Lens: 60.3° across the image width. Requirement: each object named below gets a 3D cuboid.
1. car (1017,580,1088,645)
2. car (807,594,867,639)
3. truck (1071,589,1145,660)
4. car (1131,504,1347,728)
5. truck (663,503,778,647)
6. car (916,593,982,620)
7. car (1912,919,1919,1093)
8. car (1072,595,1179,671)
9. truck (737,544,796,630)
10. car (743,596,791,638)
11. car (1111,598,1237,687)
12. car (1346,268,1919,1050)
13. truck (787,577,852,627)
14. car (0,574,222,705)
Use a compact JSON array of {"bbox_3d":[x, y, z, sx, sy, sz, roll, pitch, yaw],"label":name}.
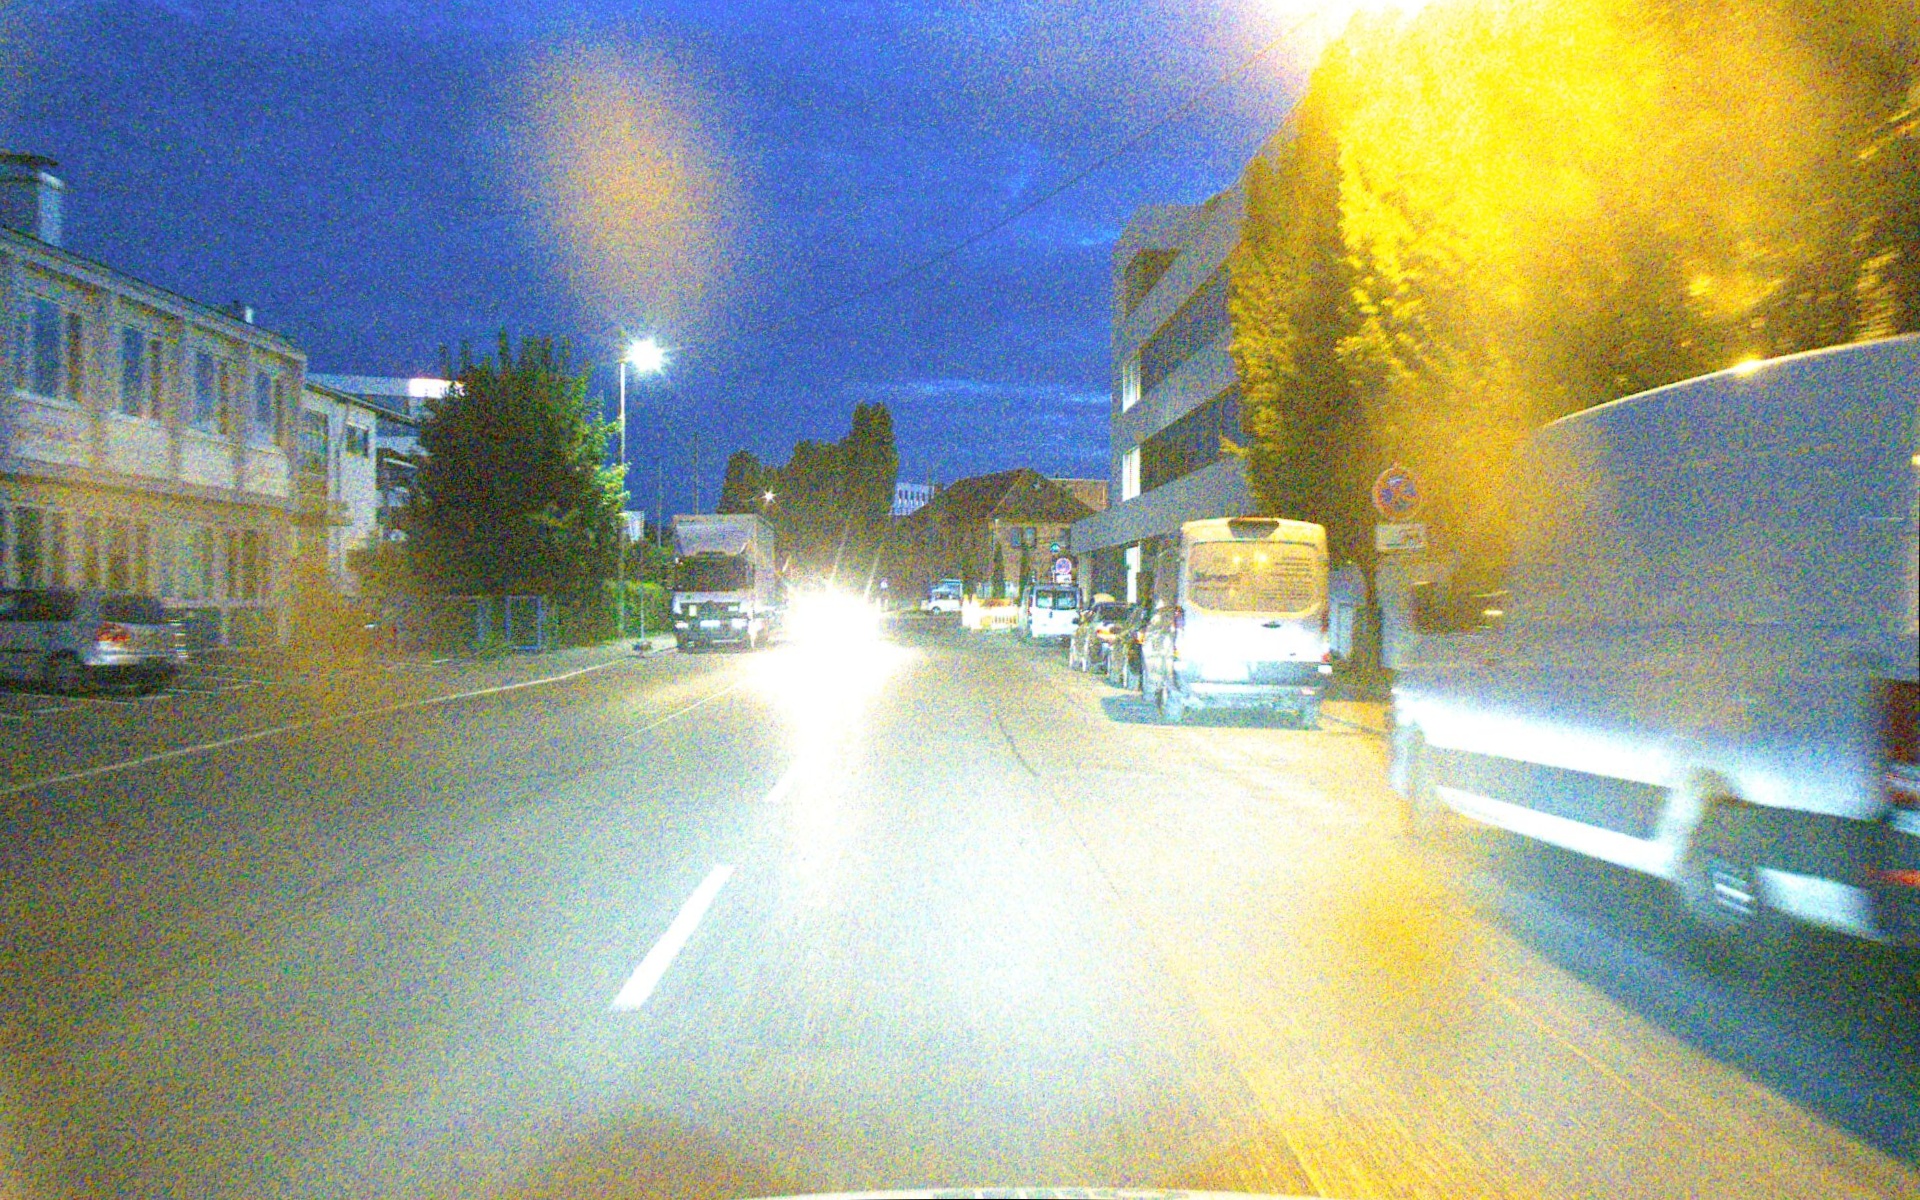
[{"bbox_3d":[2.988,0.392,54.629,1.953,2.049,4.910,-1,0,-1],"label":"car"},{"bbox_3d":[-4.085,0.530,55.447,1.820,1.445,3.998,0,0,-2],"label":"car"},{"bbox_3d":[3.607,0.575,40.805,1.342,1.673,3.810,0,0,-2],"label":"truck"},{"bbox_3d":[3.632,0.179,22.663,1.952,2.569,5.910,3,0,1],"label":"car"},{"bbox_3d":[-7.371,-0.713,52.087,2.691,4.104,9.554,0,0,-3],"label":"truck"},{"bbox_3d":[-0.790,0.465,117.133,4.269,1.675,1.879,-3,1,-24],"label":"car"},{"bbox_3d":[3.990,0.243,2.039,1.953,2.616,6.012,3,0,-1],"label":"car"},{"bbox_3d":[3.475,0.653,35.557,1.906,1.515,5.011,0,0,1],"label":"car"},{"bbox_3d":[-10.067,-0.627,85.359,2.721,4.192,9.323,0,0,-8],"label":"truck"},{"bbox_3d":[-8.232,0.692,70.841,1.906,1.747,5.192,0,0,-5],"label":"car"},{"bbox_3d":[3.702,0.696,29.333,1.733,1.437,4.551,0,0,1],"label":"car"},{"bbox_3d":[3.971,0.223,8.565,2.086,2.616,5.904,3,0,-4],"label":"car"},{"bbox_3d":[-11.434,0.165,133.822,2.717,3.849,9.076,0,0,-22],"label":"truck"},{"bbox_3d":[-12.762,0.493,23.246,4.043,1.457,1.898,5,1,17],"label":"car"}]
